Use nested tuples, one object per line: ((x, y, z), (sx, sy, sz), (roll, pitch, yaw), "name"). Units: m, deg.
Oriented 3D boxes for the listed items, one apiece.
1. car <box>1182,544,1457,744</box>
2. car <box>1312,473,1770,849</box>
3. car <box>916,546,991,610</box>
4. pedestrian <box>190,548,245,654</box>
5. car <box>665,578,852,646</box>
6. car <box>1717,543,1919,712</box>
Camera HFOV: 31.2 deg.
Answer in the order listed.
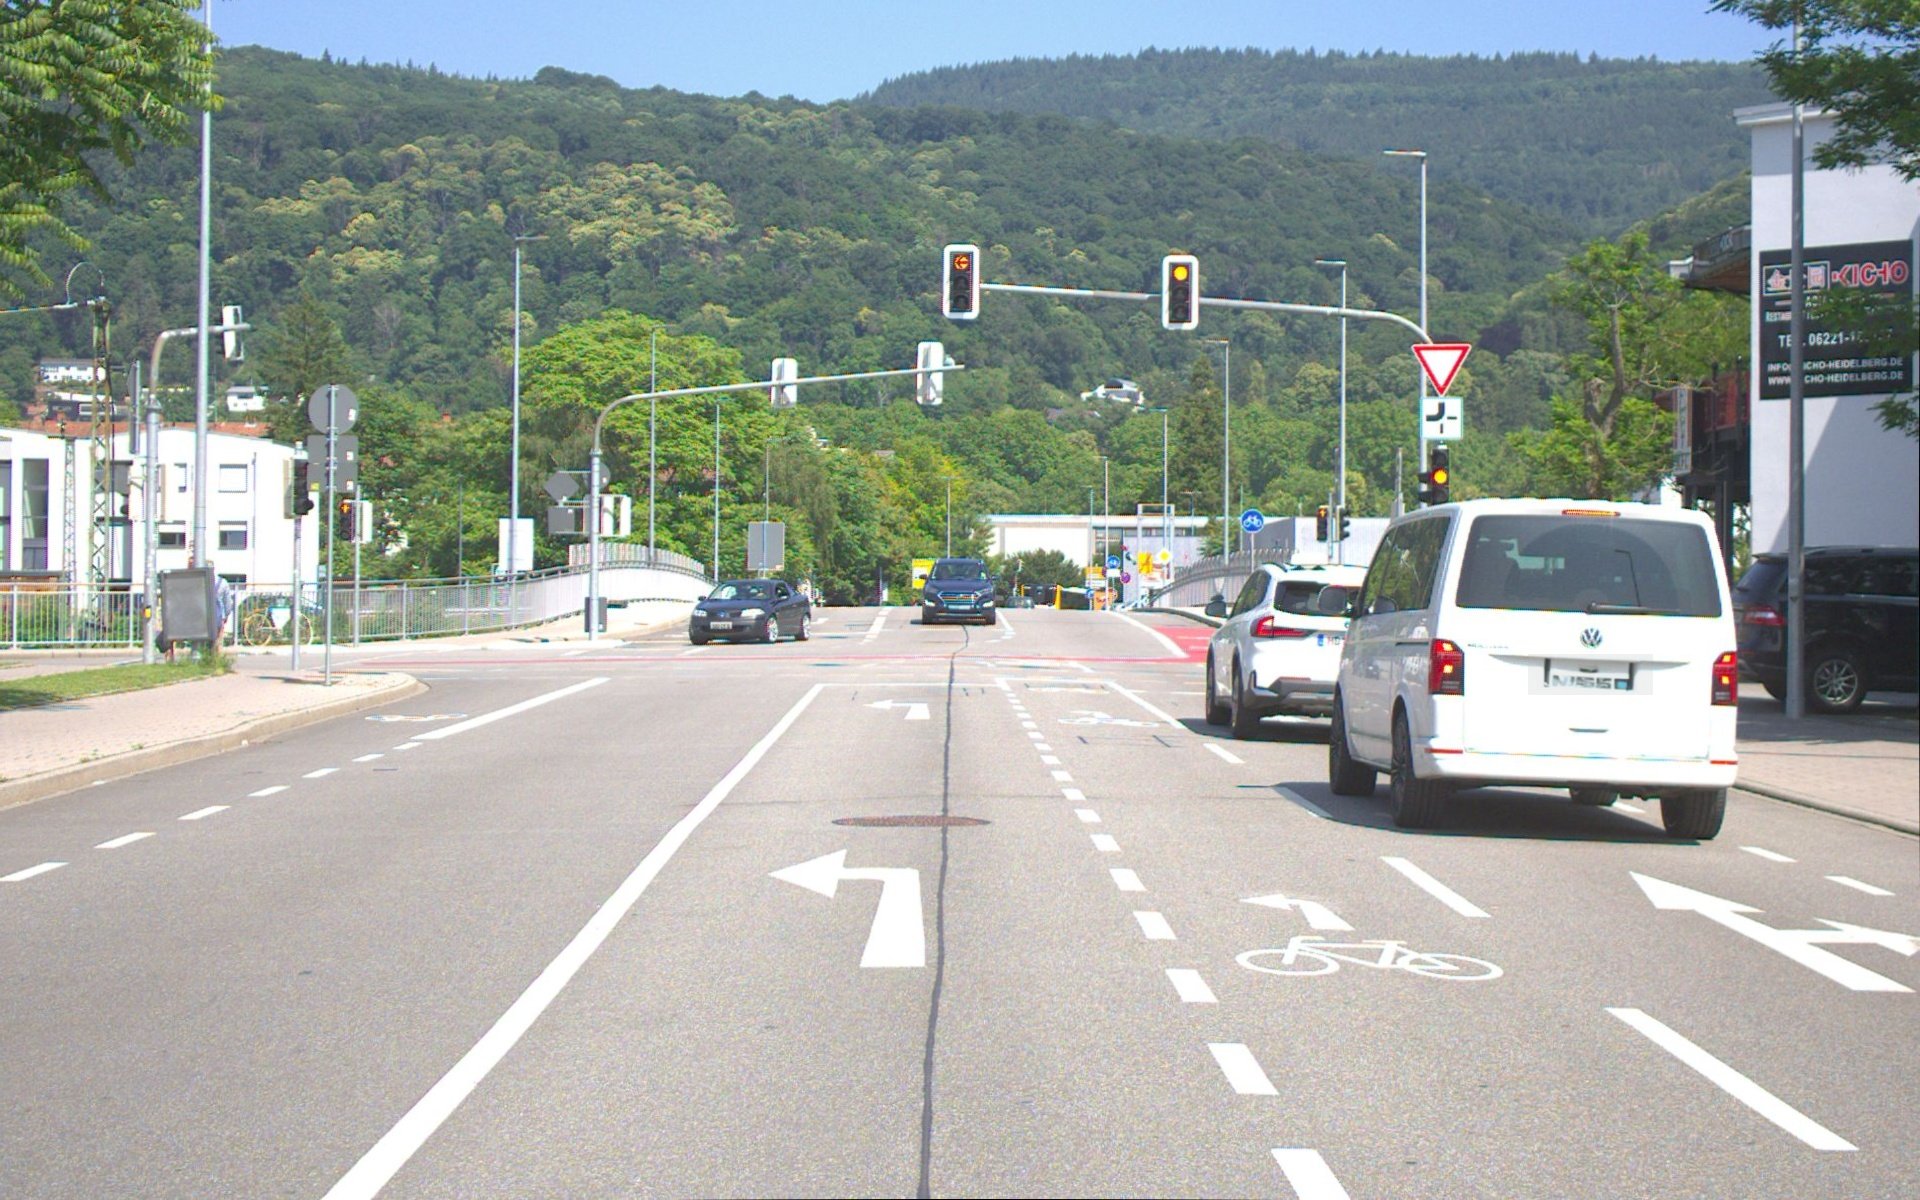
((3.314, 0.359, 32.586), (1.934, 1.681, 4.545), (2, 1, -2), "car")
((3.494, 0.301, 21.550), (1.934, 2.052, 4.545), (2, 1, -1), "car")
((-0.155, -0.569, 86.569), (1.849, 1.583, 4.000), (0, 1, 0), "car")
((-11.134, 0.012, 51.539), (0.698, 1.568, 0.676), (0, 1, -2), "pedestrian")
((-4.278, 0.234, 73.571), (1.997, 1.365, 4.320), (1, 1, 29), "car")
((10.346, 0.277, 37.227), (3.988, 1.769, 2.000), (0, 1, 6), "car")
